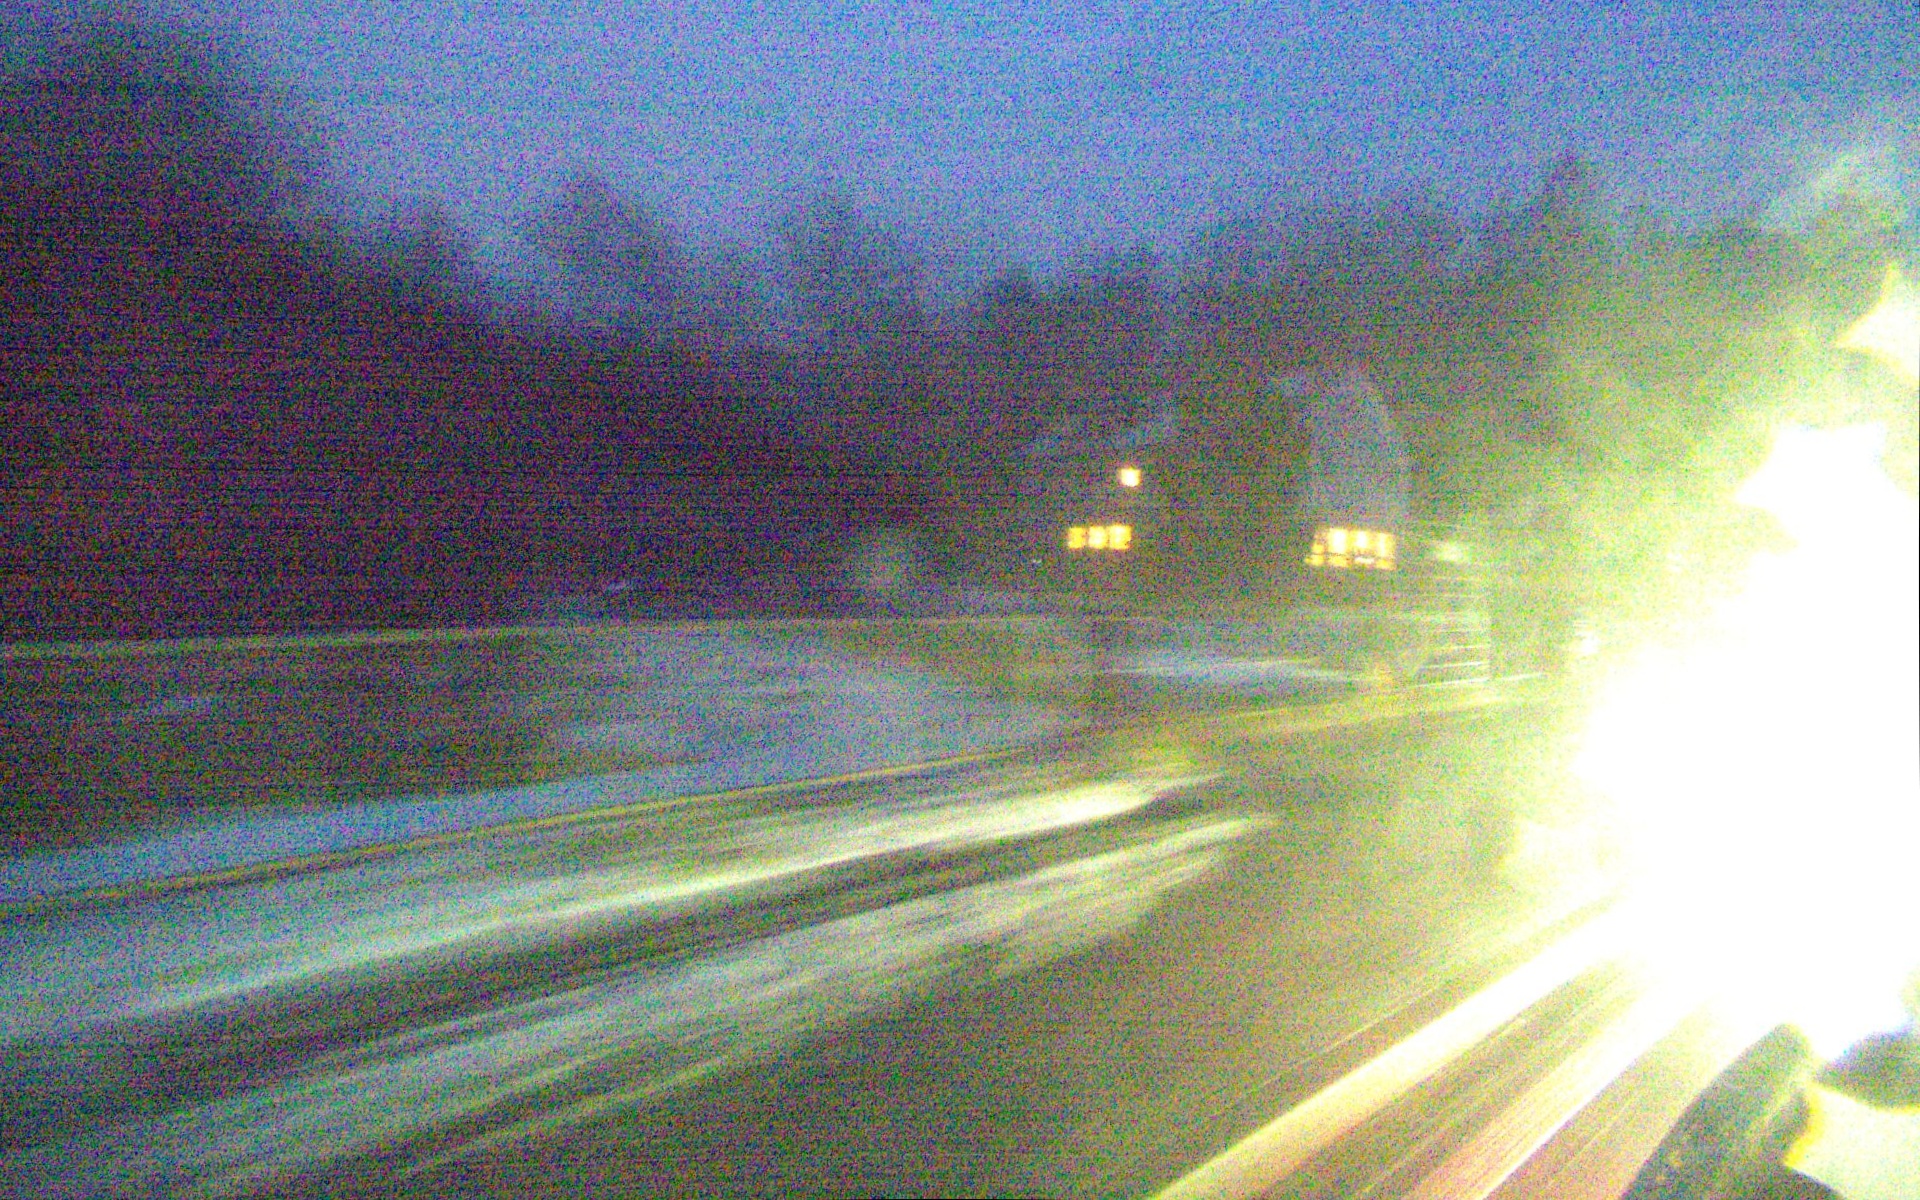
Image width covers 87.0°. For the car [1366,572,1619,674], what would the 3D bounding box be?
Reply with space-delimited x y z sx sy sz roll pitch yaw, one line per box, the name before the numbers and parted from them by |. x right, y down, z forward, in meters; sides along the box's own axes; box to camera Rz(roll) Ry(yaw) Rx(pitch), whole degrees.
car | 9.520 0.312 18.395 1.713 1.539 3.746 -1 3 -26

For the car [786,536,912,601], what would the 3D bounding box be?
car | -3.833 -1.104 34.326 1.965 2.038 4.753 -1 3 -40

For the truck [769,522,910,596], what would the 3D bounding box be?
truck | -4.801 -1.551 40.322 5.303 2.787 2.206 0 0 27
